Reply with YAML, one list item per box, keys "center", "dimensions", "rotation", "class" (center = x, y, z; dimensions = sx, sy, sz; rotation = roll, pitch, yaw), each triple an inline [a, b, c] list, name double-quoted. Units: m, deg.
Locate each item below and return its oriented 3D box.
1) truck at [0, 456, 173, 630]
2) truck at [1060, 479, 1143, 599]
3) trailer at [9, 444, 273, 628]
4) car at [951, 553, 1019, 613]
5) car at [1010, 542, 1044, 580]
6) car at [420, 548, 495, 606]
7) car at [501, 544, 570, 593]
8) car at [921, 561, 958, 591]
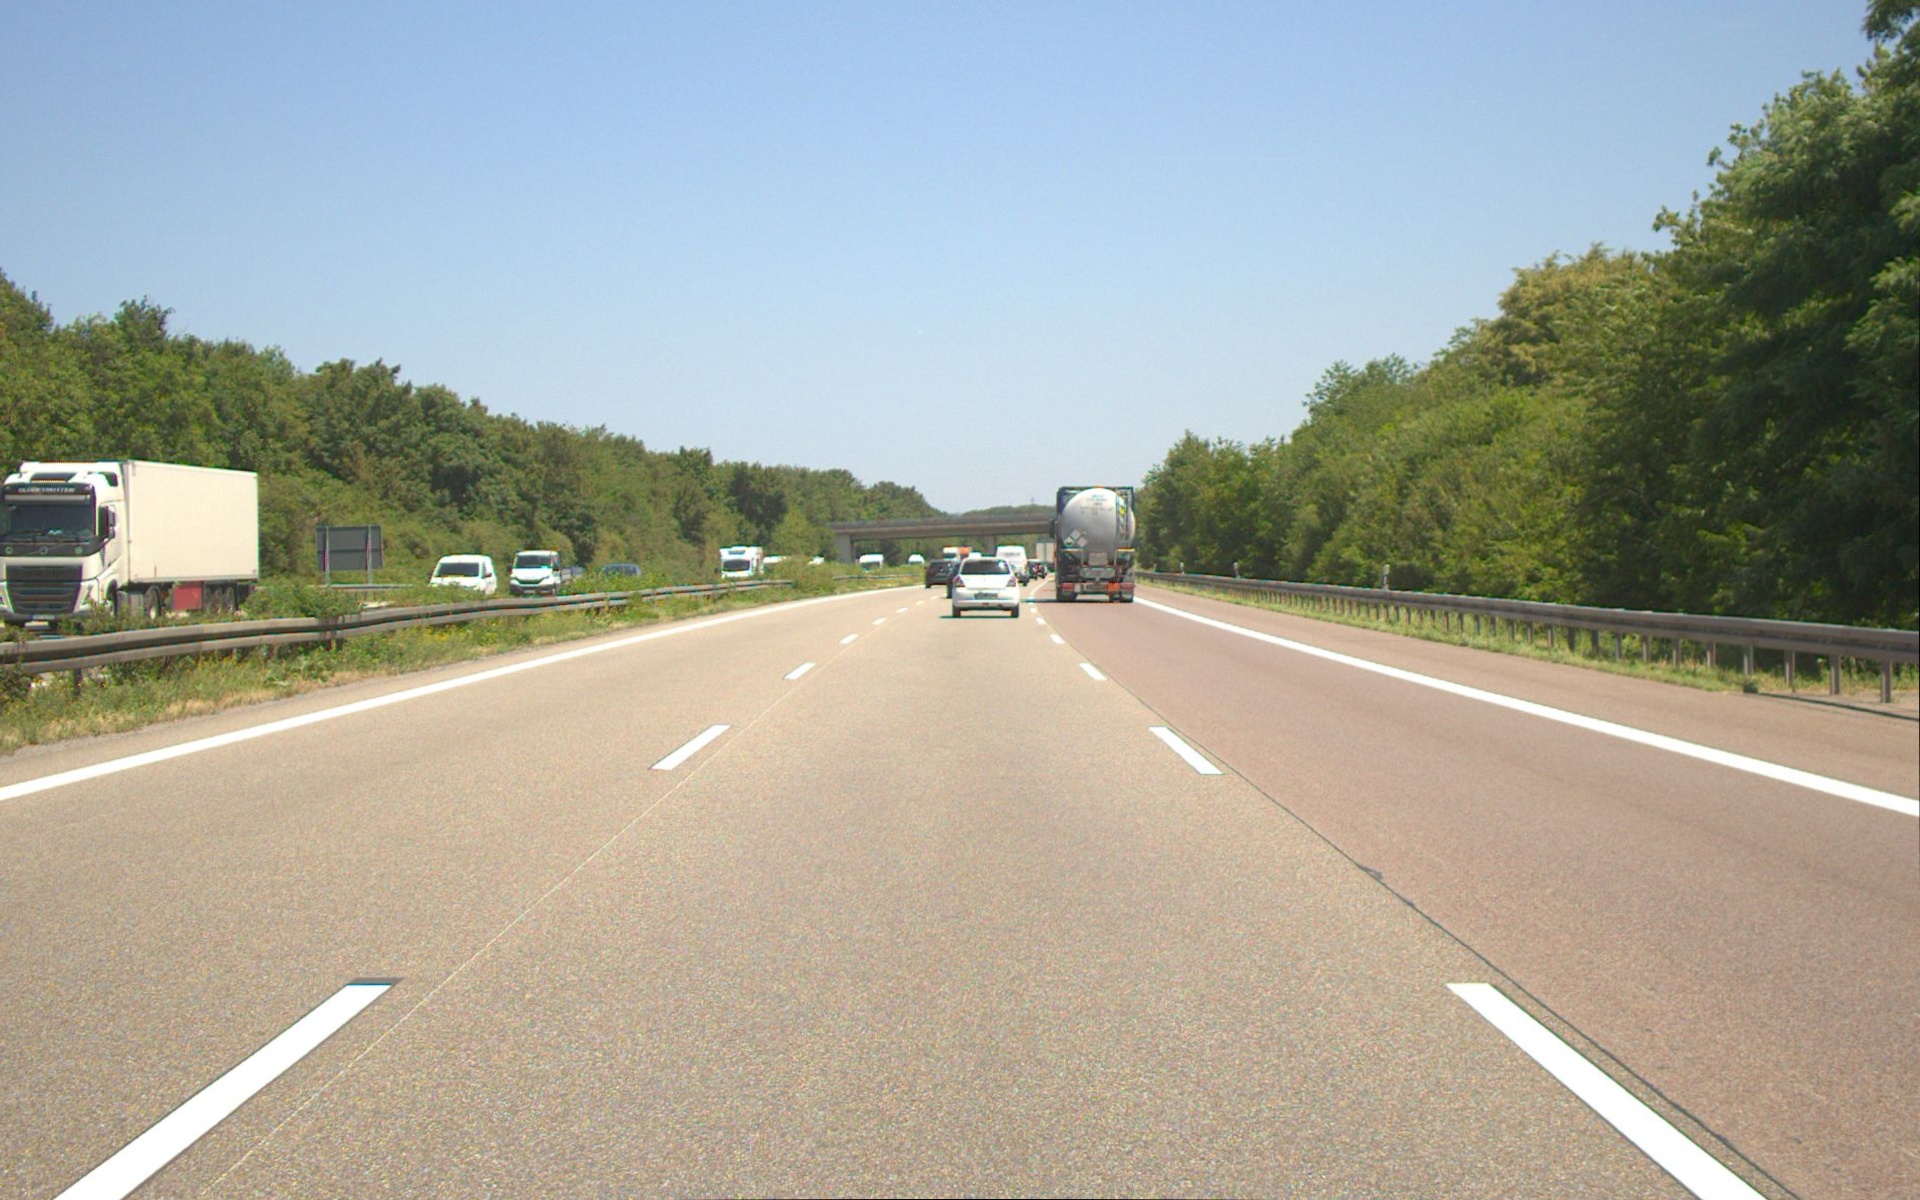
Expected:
- center: [-20.894, -1.323, 80.870]
  dimensions: [3.261, 3.938, 6.101]
  rotation: [0, 0, 1]
  class: "truck"
- center: [4.907, -2.105, 120.897]
  dimensions: [2.739, 4.038, 10.454]
  rotation: [0, 1, 2]
  class: "truck"
- center: [-20.759, -1.612, 88.264]
  dimensions: [3.311, 4.347, 13.588]
  rotation: [0, 1, 1]
  class: "trailer"
- center: [0.614, -0.434, 87.141]
  dimensions: [1.627, 1.474, 4.000]
  rotation: [0, 1, -1]
  class: "car"
- center: [4.242, -2.464, 216.921]
  dimensions: [1.994, 2.335, 4.387]
  rotation: [0, 1, 3]
  class: "car"
- center: [-16.580, -0.767, 113.560]
  dimensions: [1.815, 1.870, 4.879]
  rotation: [0, 1, 0]
  class: "car"
- center: [-19.477, -1.464, 158.136]
  dimensions: [2.244, 2.165, 6.541]
  rotation: [0, 1, 1]
  class: "car"
- center: [-1.168, -1.414, 198.629]
  dimensions: [1.993, 1.719, 4.786]
  rotation: [0, 1, 2]
  class: "car"
